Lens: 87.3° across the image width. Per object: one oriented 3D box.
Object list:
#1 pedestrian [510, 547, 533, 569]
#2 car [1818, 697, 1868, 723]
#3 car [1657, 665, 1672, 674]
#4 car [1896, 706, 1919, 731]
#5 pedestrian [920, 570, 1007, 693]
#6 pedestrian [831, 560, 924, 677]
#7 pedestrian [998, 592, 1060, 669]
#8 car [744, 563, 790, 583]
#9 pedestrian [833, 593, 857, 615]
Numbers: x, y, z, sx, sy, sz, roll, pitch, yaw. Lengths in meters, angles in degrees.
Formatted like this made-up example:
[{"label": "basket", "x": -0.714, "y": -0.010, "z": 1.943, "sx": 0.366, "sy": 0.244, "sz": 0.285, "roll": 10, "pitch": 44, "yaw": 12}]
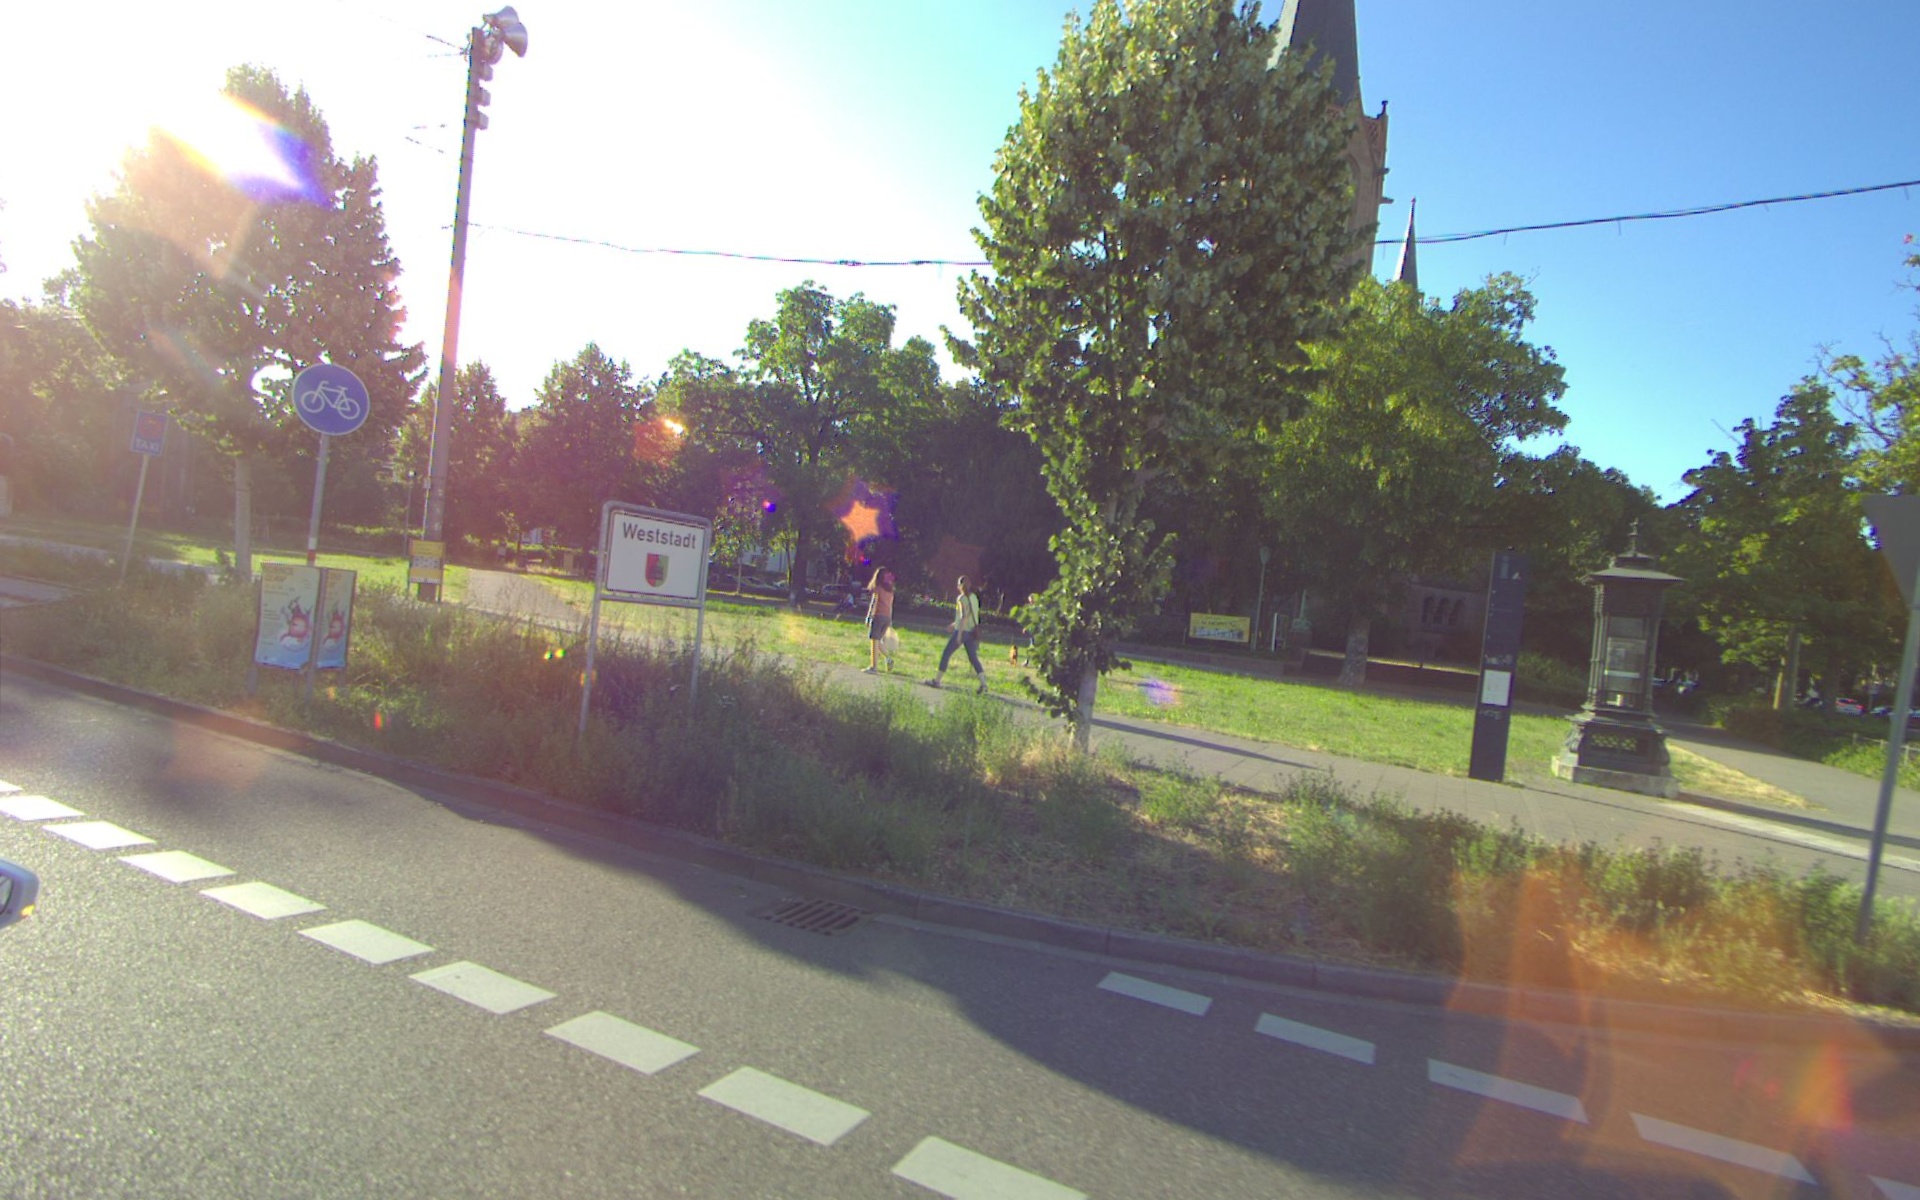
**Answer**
[{"label": "pedestrian", "x": -26.105, "y": -2.499, "z": 59.938, "sx": 0.830, "sy": 1.202, "sz": 0.812, "roll": 7, "pitch": 1, "yaw": 27}, {"label": "car", "x": 72.524, "y": 9.039, "z": 82.685, "sx": 1.889, "sy": 1.627, "sz": 4.262, "roll": 8, "pitch": 1, "yaw": 28}, {"label": "car", "x": 119.925, "y": 11.891, "z": 171.204, "sx": 1.572, "sy": 1.283, "sz": 3.260, "roll": 6, "pitch": 1, "yaw": 28}, {"label": "car", "x": 63.613, "y": 7.937, "z": 66.272, "sx": 1.646, "sy": 1.481, "sz": 3.994, "roll": 8, "pitch": 1, "yaw": 28}, {"label": "pedestrian", "x": 0.053, "y": 0.476, "z": 15.168, "sx": 0.880, "sy": 1.718, "sz": 0.709, "roll": 8, "pitch": 2, "yaw": 29}, {"label": "pedestrian", "x": -1.322, "y": 0.305, "z": 16.104, "sx": 1.000, "sy": 1.718, "sz": 0.842, "roll": 8, "pitch": 2, "yaw": 34}, {"label": "pedestrian", "x": 1.670, "y": 0.734, "z": 24.373, "sx": 0.838, "sy": 1.718, "sz": 1.005, "roll": 5, "pitch": 2, "yaw": -41}, {"label": "car", "x": -20.925, "y": -2.949, "z": 108.910, "sx": 4.380, "sy": 1.591, "sz": 2.000, "roll": 6, "pitch": 1, "yaw": 17}, {"label": "pedestrian", "x": -5.642, "y": 0.186, "z": 49.442, "sx": 0.789, "sy": 0.966, "sz": 1.174, "roll": 7, "pitch": 1, "yaw": 7}]
